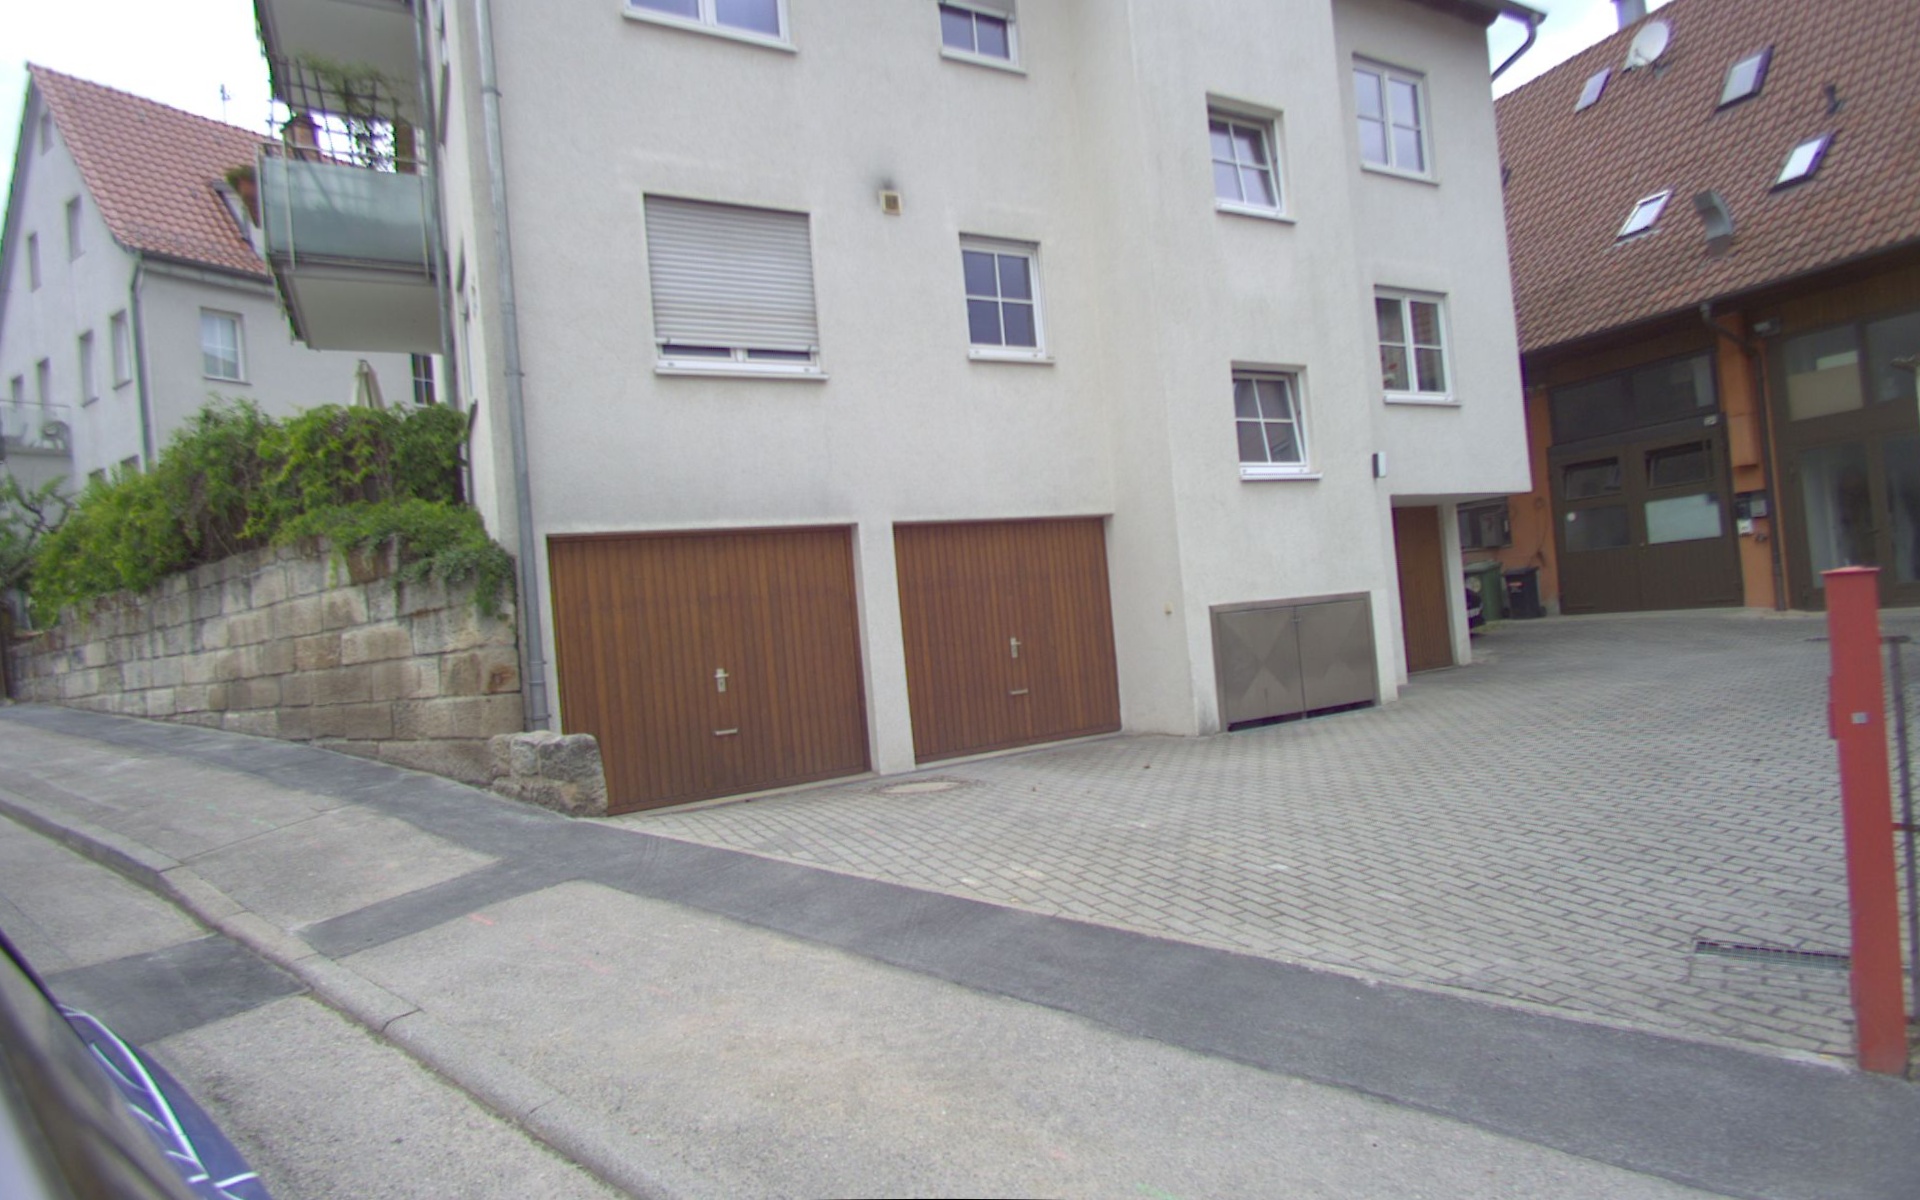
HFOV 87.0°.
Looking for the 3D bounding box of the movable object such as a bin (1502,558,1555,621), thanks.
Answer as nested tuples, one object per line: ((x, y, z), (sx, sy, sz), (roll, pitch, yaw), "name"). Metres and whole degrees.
((10.140, -0.184, 18.061), (0.651, 1.070, 0.516), (-4, 0, -30), "movable object such as a bin")

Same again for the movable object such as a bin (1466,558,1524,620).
((9.809, -0.196, 18.556), (0.760, 1.070, 0.590), (-4, 0, -30), "movable object such as a bin")
